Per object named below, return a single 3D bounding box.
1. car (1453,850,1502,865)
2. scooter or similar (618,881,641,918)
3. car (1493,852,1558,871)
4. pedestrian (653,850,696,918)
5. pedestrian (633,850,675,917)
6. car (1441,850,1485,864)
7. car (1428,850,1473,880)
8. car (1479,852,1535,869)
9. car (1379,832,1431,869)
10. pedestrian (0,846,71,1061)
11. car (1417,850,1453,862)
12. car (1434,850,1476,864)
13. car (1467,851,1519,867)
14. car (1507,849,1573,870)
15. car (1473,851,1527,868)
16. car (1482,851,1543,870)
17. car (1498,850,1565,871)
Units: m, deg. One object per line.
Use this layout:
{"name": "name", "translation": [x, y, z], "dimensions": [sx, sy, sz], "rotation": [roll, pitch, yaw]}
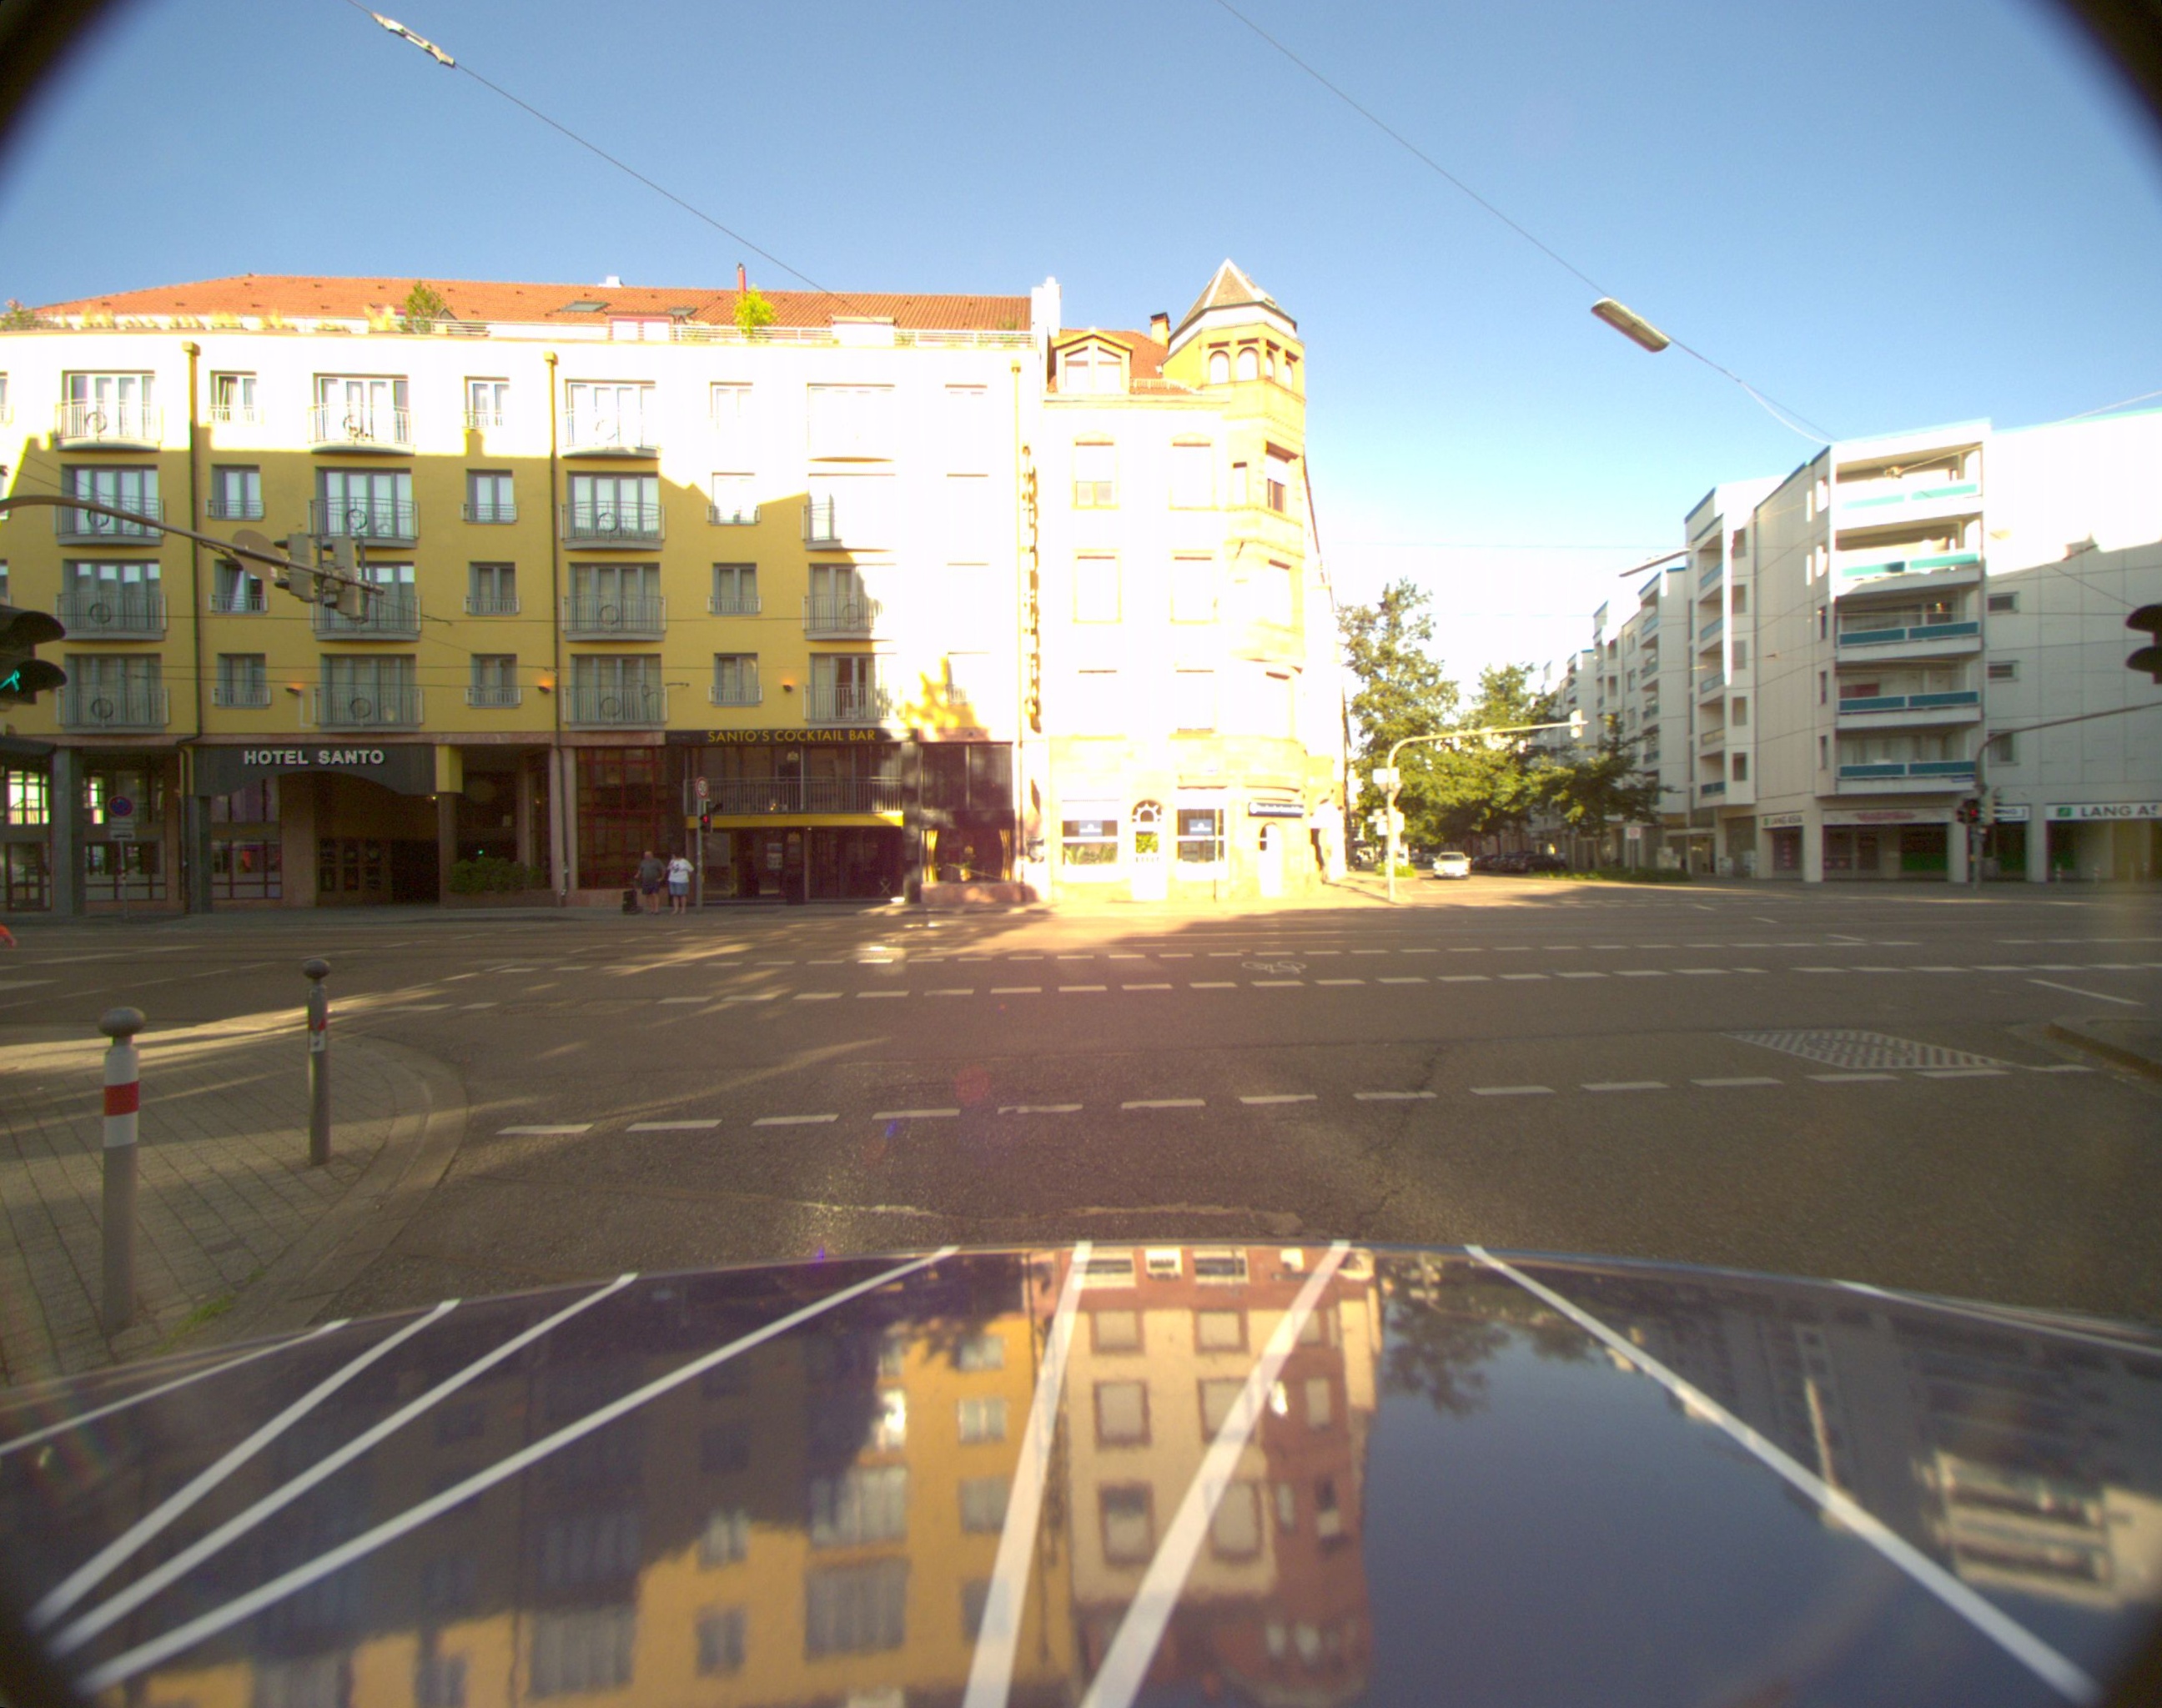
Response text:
{"name": "car", "translation": [43.023, 0.328, 82.543], "dimensions": [4.296, 1.576, 2.002], "rotation": [-1, 0, 14]}
{"name": "scooter or similar", "translation": [-12.556, 1.269, 21.126], "dimensions": [0.357, 0.972, 0.422], "rotation": [-1, 4, -4]}
{"name": "car", "translation": [37.432, 0.627, 64.102], "dimensions": [4.297, 1.576, 2.002], "rotation": [-1, 0, 13]}
{"name": "pedestrian", "translation": [-11.276, 0.818, 21.081], "dimensions": [0.735, 1.831, 0.726], "rotation": [-1, 4, -2]}
{"name": "pedestrian", "translation": [-12.027, 0.823, 21.422], "dimensions": [0.678, 1.831, 0.726], "rotation": [-1, 4, -2]}
{"name": "car", "translation": [44.936, 0.371, 89.561], "dimensions": [4.296, 1.576, 2.002], "rotation": [-1, 0, 14]}
{"name": "car", "translation": [22.242, 0.629, 45.888], "dimensions": [1.995, 1.739, 4.006], "rotation": [-1, 0, 20]}
{"name": "car", "translation": [40.597, 0.613, 72.525], "dimensions": [4.296, 1.576, 2.002], "rotation": [-1, 0, 14]}
{"name": "car", "translation": [29.437, -0.275, 69.358], "dimensions": [3.319, 3.160, 8.092], "rotation": [-1, 0, 16]}
{"name": "pedestrian", "translation": [-9.007, 0.776, 5.820], "dimensions": [1.175, 1.670, 1.005], "rotation": [-1, 0, -26]}
{"name": "car", "translation": [49.699, 0.249, 106.873], "dimensions": [4.296, 1.576, 2.002], "rotation": [-1, 0, 14]}
{"name": "car", "translation": [45.396, 0.338, 92.378], "dimensions": [4.296, 1.576, 2.002], "rotation": [-1, 0, 14]}
{"name": "car", "translation": [42.038, 0.458, 77.558], "dimensions": [4.296, 1.576, 2.002], "rotation": [-1, 0, 14]}
{"name": "car", "translation": [35.756, 0.445, 59.342], "dimensions": [3.993, 1.576, 2.002], "rotation": [-1, 0, 13]}
{"name": "car", "translation": [41.411, 0.524, 75.225], "dimensions": [4.296, 1.576, 2.002], "rotation": [-1, 0, 14]}
{"name": "car", "translation": [37.734, 0.564, 66.528], "dimensions": [4.297, 1.576, 2.002], "rotation": [-1, 0, 13]}
{"name": "car", "translation": [36.491, 0.530, 61.682], "dimensions": [4.297, 1.576, 2.002], "rotation": [-1, 0, 13]}
